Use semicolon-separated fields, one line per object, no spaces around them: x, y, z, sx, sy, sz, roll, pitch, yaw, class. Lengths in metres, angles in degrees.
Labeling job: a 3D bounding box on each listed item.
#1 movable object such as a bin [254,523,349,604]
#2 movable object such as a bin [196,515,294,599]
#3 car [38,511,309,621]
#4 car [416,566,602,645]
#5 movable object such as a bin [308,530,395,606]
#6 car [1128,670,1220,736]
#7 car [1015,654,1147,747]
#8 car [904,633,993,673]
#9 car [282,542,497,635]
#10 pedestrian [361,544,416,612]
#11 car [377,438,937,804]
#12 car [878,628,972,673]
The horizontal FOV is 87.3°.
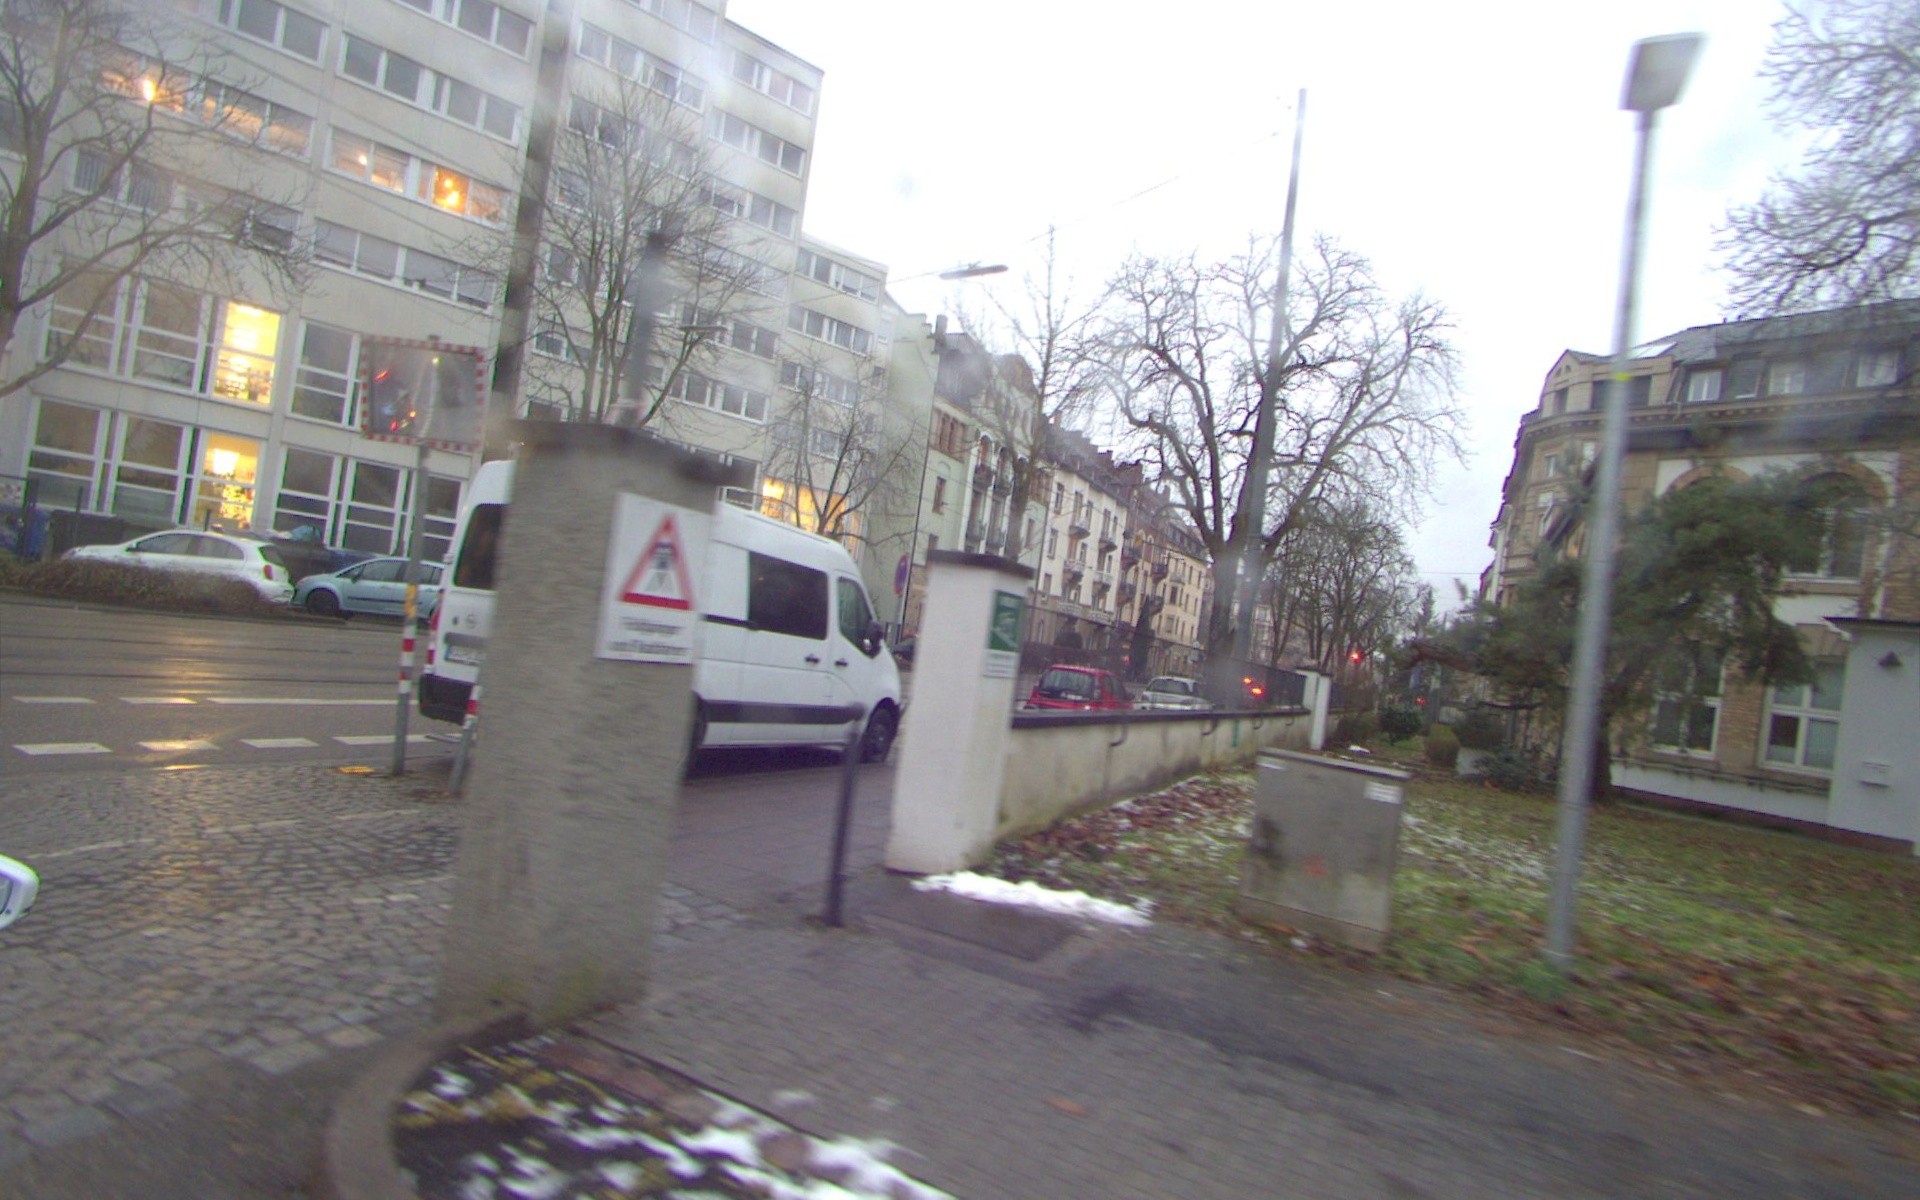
-17.590;-0.961;26.874;1.547;1.883;1.392;7;0;27;movable object such as a bin
-18.196;-1.080;25.619;1.547;1.883;1.316;7;0;27;movable object such as a bin
-15.654;-0.636;20.271;3.821;1.570;1.686;8;-1;-19;car
-11.649;0.178;26.233;3.931;1.460;1.736;8;-3;-7;car
-16.980;-0.881;28.078;1.547;1.883;1.316;7;0;27;movable object such as a bin
6.144;2.903;28.610;1.667;1.537;3.637;7;-2;25;car
2.618;2.066;21.021;1.618;1.541;3.573;8;-1;23;car
-0.574;2.647;50.135;3.941;1.445;1.842;8;-1;-17;car
-13.242;-0.235;23.617;3.940;1.582;1.732;8;-1;-16;car
-15.620;-0.590;27.505;0.588;1.697;0.973;7;-1;26;pedestrian
-2.444;0.316;10.036;2.092;2.515;5.440;7;-2;23;car
-1.641;2.382;47.471;3.944;1.487;1.825;9;-2;-19;car
